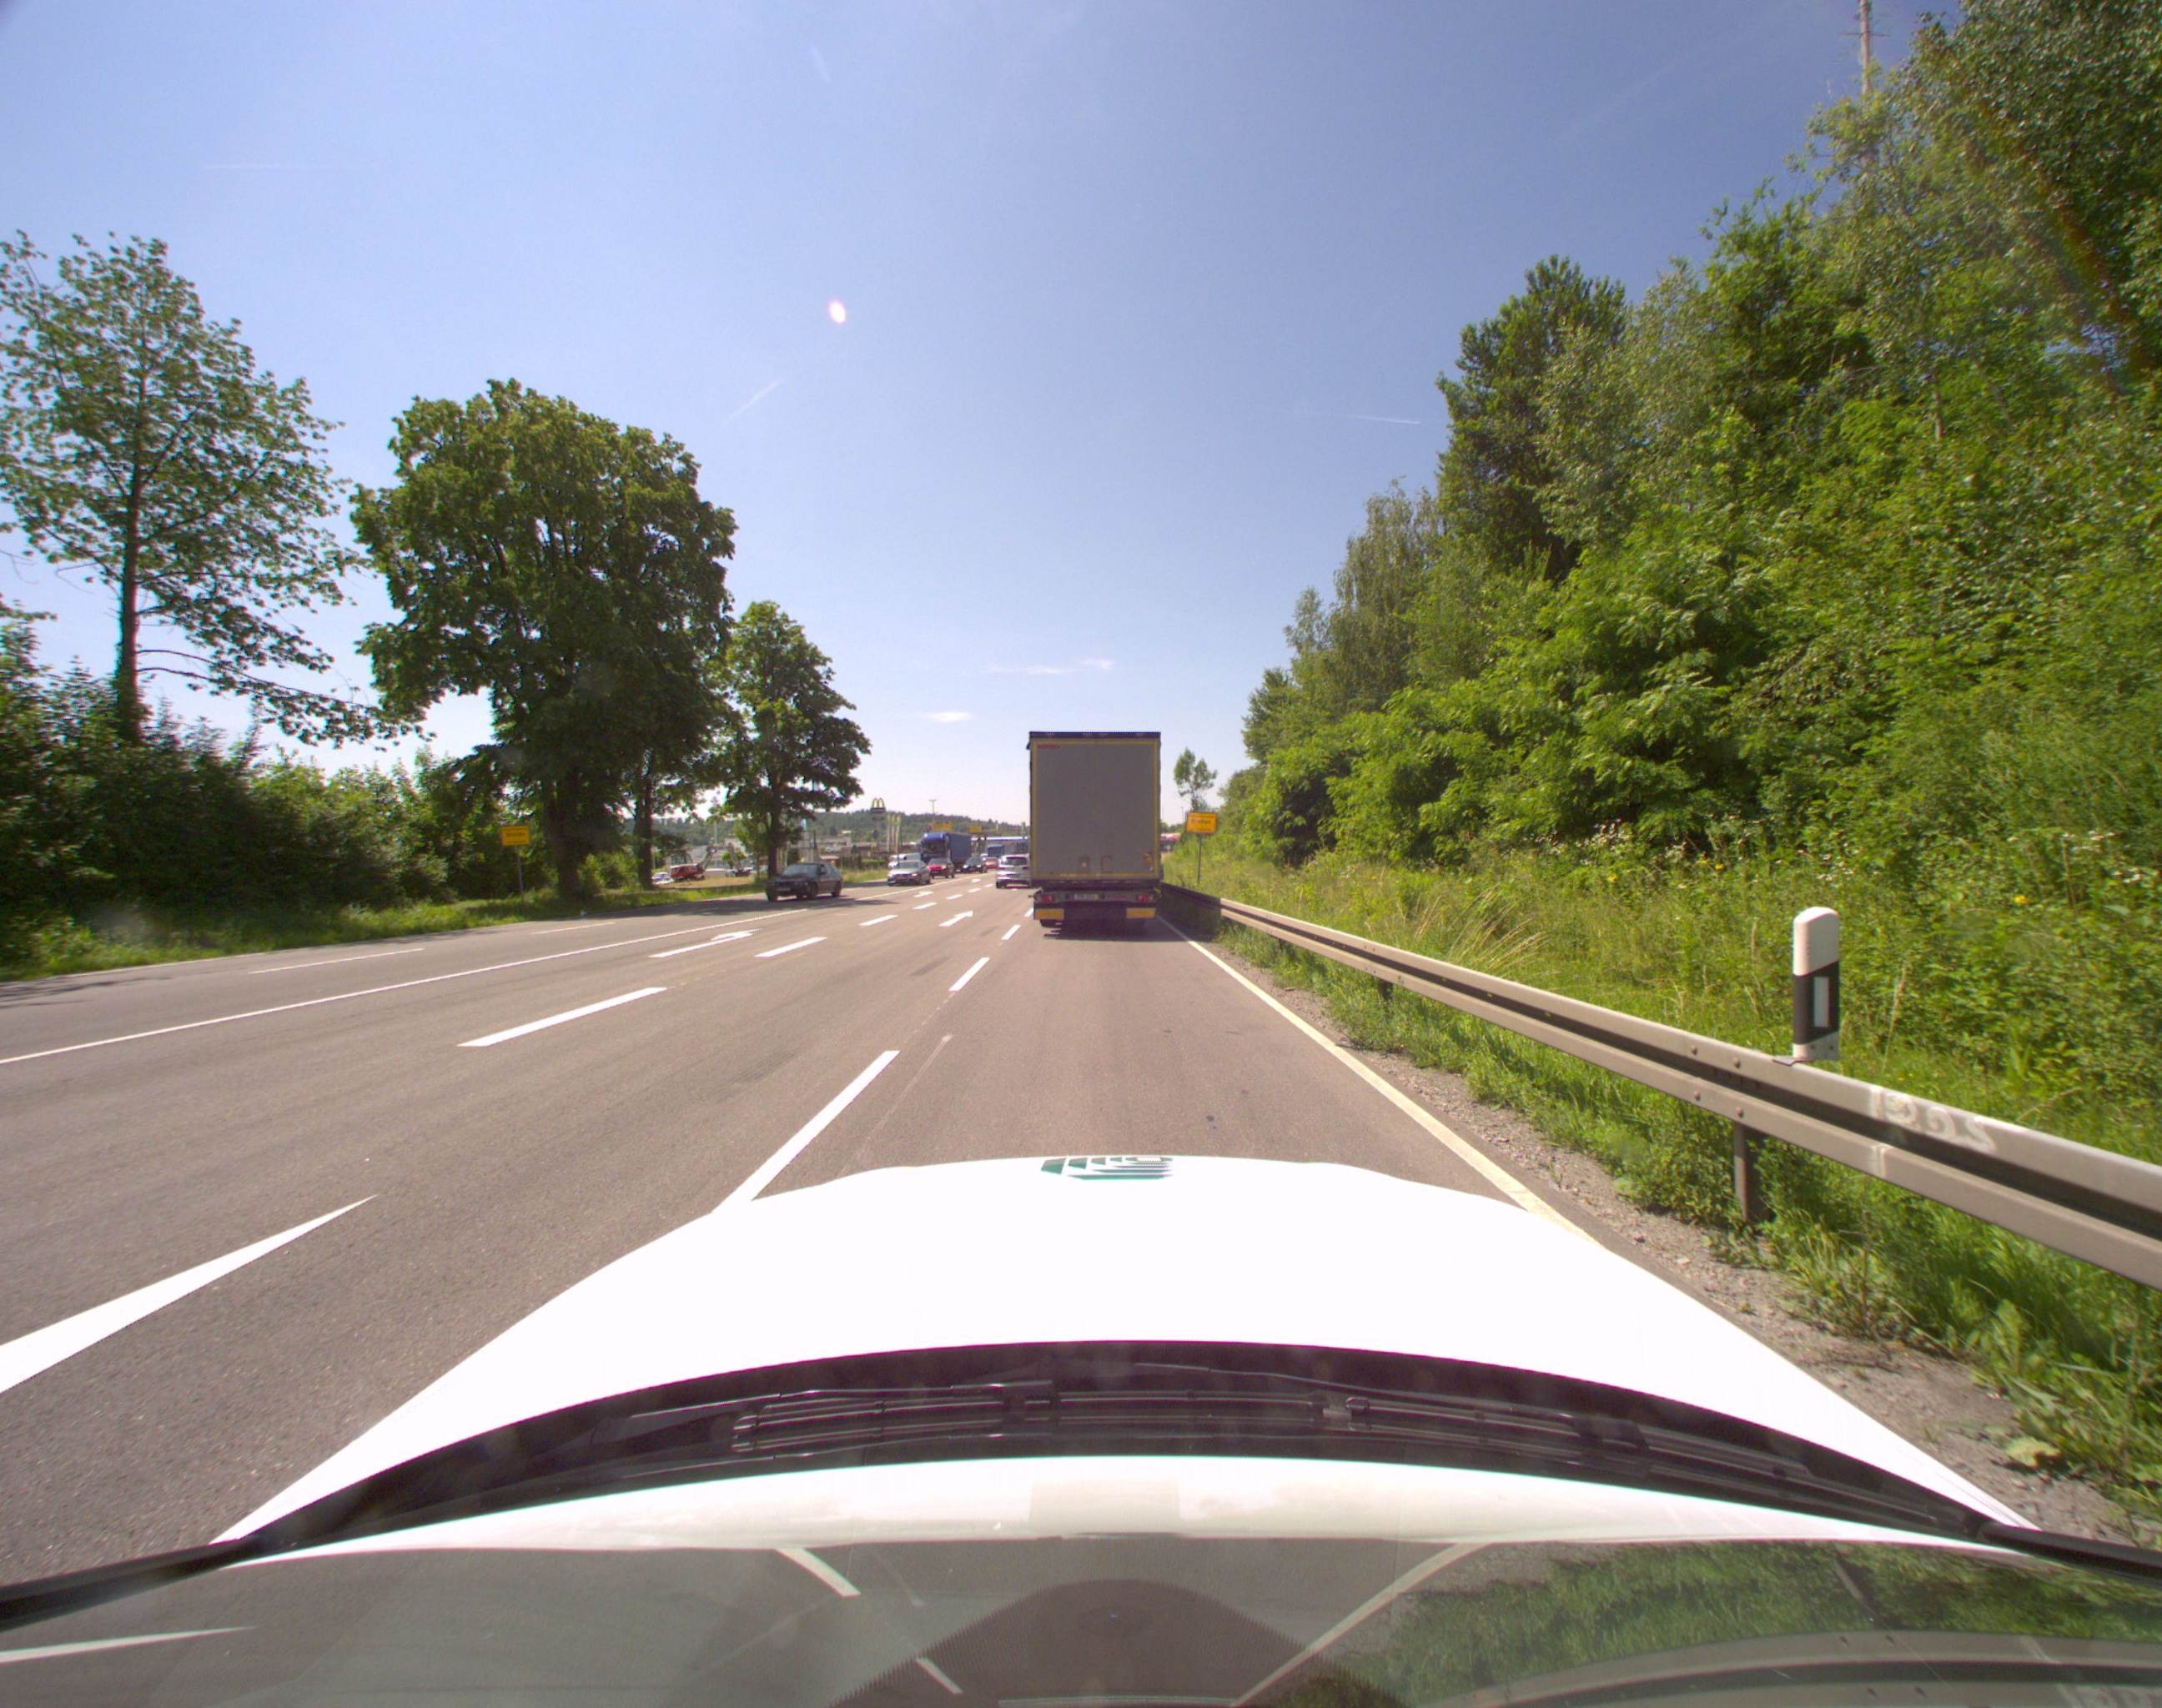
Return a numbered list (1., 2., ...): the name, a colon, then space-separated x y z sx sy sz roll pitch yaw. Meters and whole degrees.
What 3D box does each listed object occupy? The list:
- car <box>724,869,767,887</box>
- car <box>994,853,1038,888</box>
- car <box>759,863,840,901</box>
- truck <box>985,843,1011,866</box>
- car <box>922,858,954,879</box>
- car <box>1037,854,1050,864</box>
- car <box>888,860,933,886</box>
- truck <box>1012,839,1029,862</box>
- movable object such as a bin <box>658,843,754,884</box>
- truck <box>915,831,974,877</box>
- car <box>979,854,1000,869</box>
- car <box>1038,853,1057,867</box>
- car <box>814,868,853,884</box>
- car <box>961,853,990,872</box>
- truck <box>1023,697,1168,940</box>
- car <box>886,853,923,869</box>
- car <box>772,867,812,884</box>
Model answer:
1. car: -32.004 2.270 77.668 3.948 1.651 2.013 -1 -1 38
2. car: -3.264 0.812 41.591 1.798 1.670 4.293 0 0 2
3. car: -10.931 1.059 31.943 1.761 1.386 3.999 0 -1 0
4. truck: -12.800 0.106 126.067 2.837 3.351 11.479 -1 0 0
5. car: -10.509 1.040 60.173 1.636 1.438 4.015 -1 0 0
6. car: -8.060 1.130 175.665 2.483 2.014 5.525 0 -1 -1
7. car: -9.716 1.077 46.714 1.761 1.386 3.999 0 -1 0
8. truck: -12.388 -0.591 166.618 3.140 4.349 17.515 -1 0 -4
9. movable object such as a bin: -32.305 0.790 70.332 3.013 3.298 6.834 -2 0 41
10. truck: -13.667 0.049 83.201 2.958 4.177 16.574 -2 0 1
11. car: -9.962 0.858 88.670 1.761 1.445 3.775 -5 0 0
12. car: -3.497 0.636 85.715 1.680 1.398 4.404 -1 -1 1
13. car: -25.235 2.258 83.148 3.948 1.618 1.852 -1 -1 38
14. car: -9.729 0.769 75.686 1.912 1.480 4.687 -6 -1 1
15. truck: 0.522 -0.537 23.888 2.745 4.639 16.659 0 -1 2
16. car: -24.986 0.988 115.393 1.974 2.183 5.226 -1 0 31
17. car: -29.020 2.141 81.731 3.948 1.618 1.852 -1 -1 38
